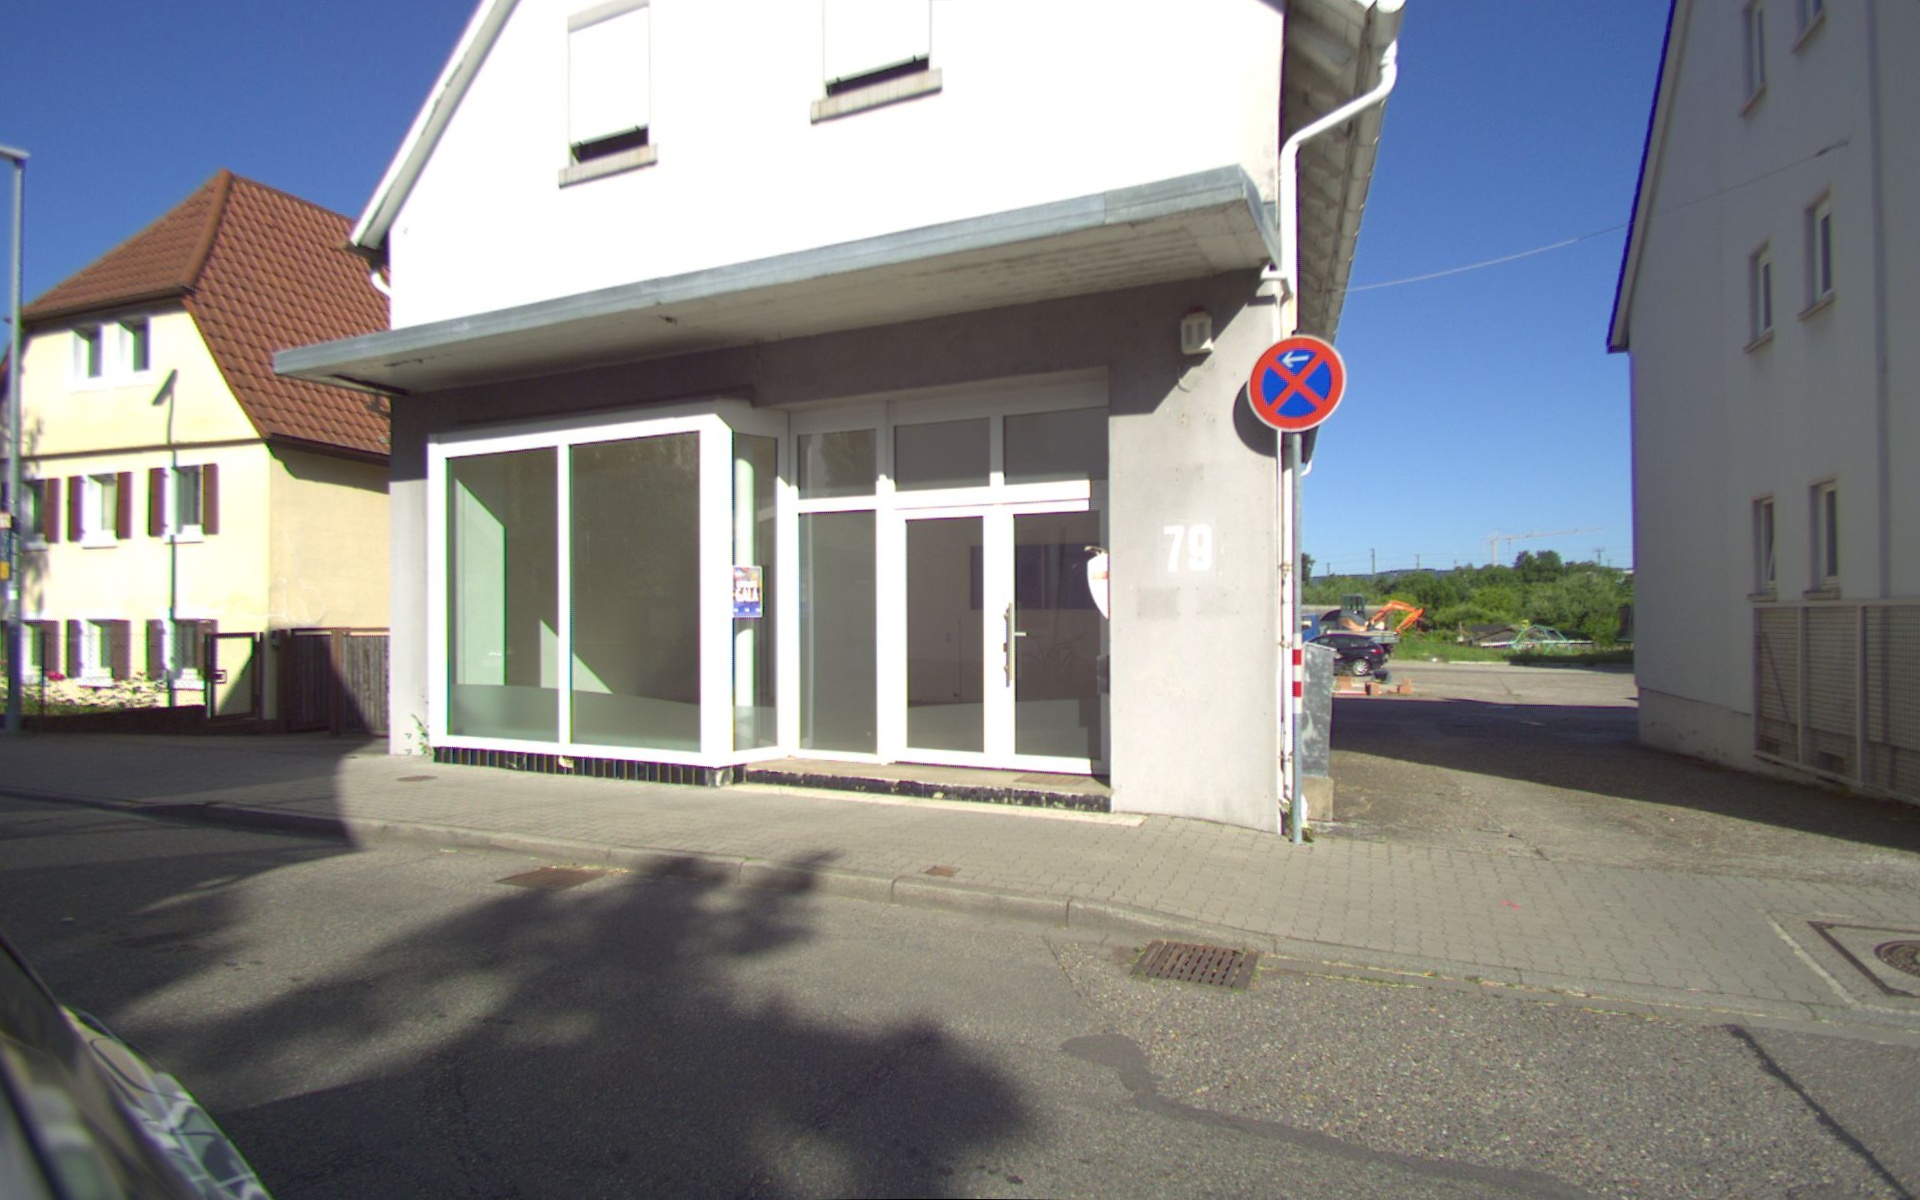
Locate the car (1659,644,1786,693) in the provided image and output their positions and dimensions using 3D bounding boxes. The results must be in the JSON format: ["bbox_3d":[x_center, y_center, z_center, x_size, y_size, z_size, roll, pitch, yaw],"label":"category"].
[{"bbox_3d":[31.442,2.814,41.884,3.986,1.863,1.979,0,-3,32],"label":"car"}]

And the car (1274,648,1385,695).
[{"bbox_3d":[15.330,2.932,42.061,4.233,1.782,1.935,-1,-1,22],"label":"car"}]

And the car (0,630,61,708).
[{"bbox_3d":[-19.328,1.235,18.338,1.833,1.473,4.147,-1,-4,18],"label":"car"}]

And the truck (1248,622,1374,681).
[{"bbox_3d":[18.893,2.735,54.583,6.203,2.972,2.109,0,-3,27],"label":"truck"}]
